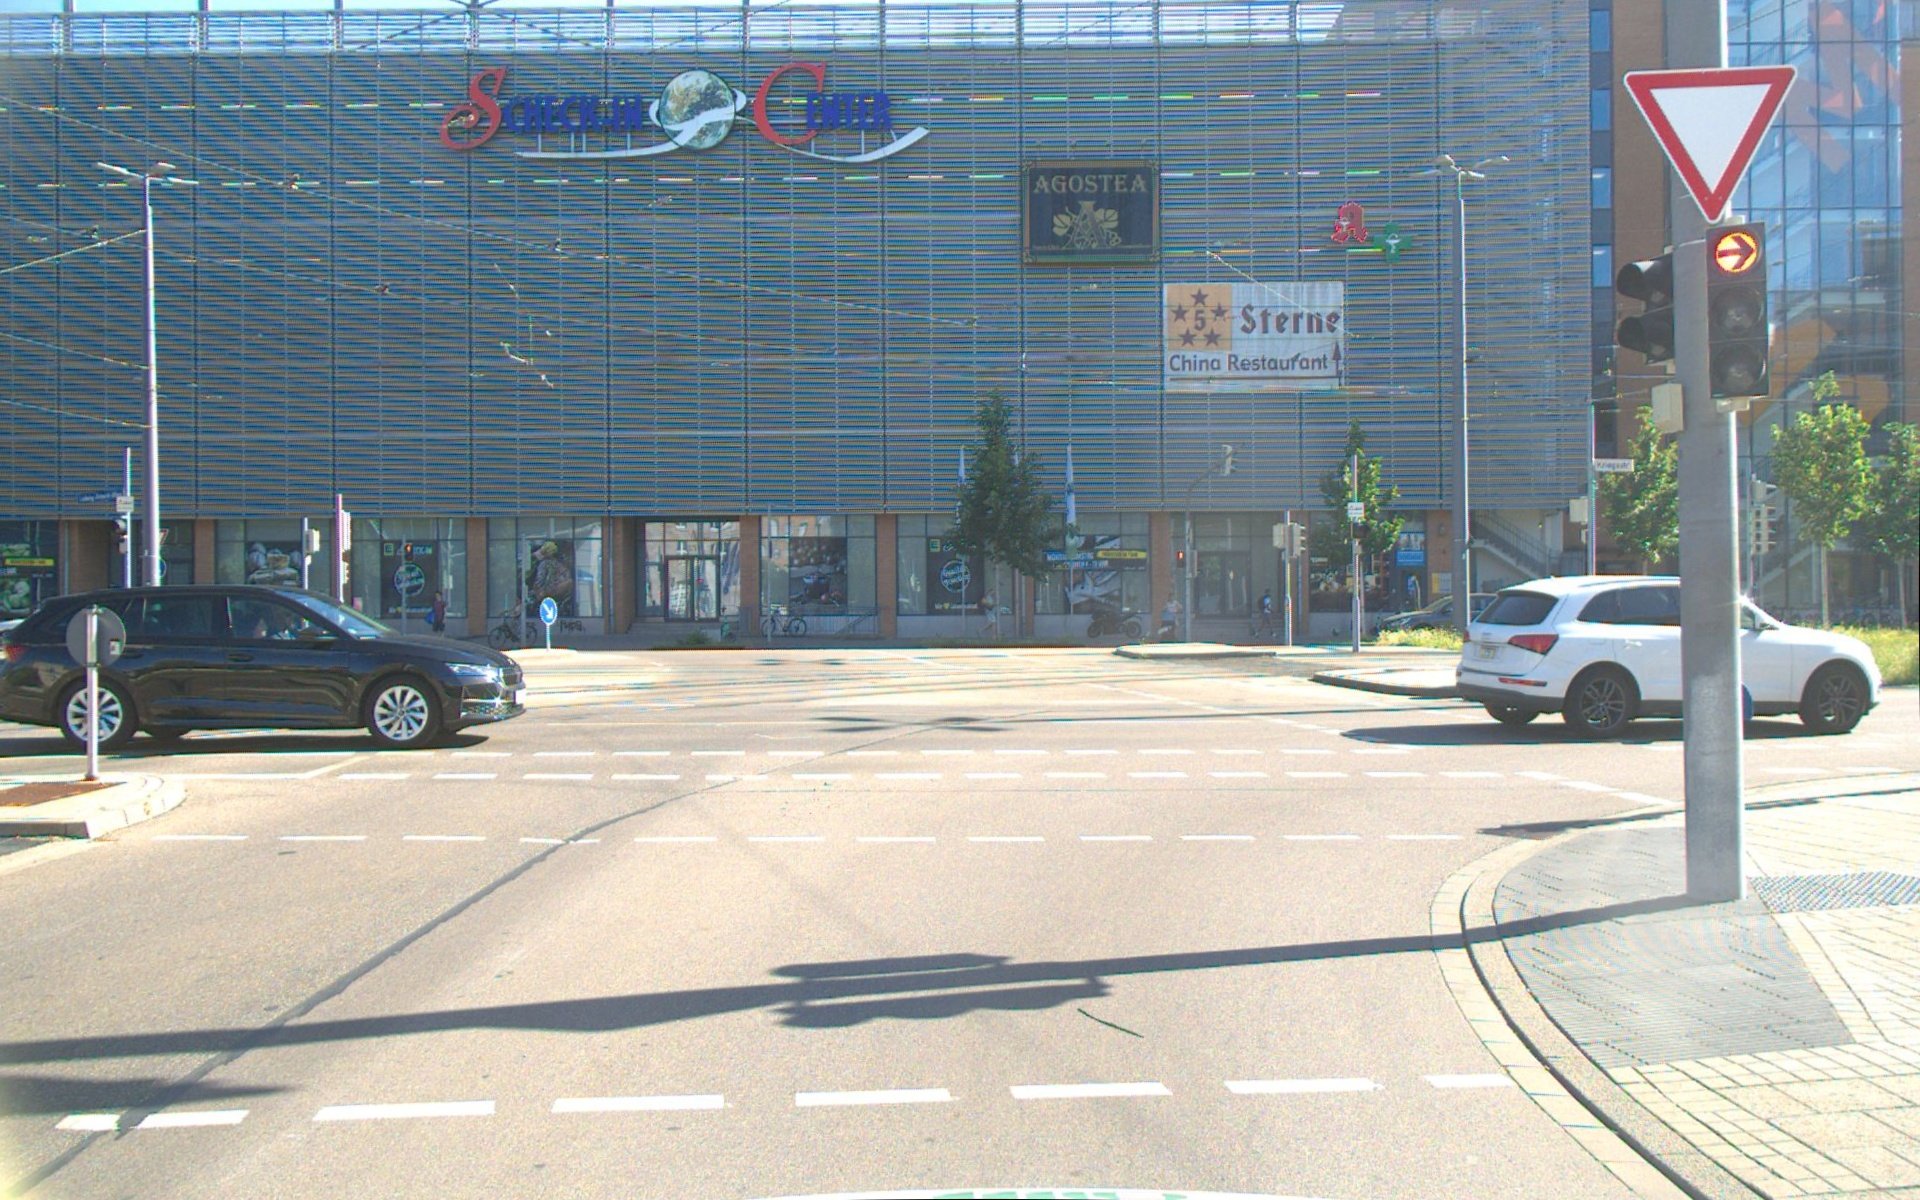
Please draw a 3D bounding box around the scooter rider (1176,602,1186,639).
[{"bbox_3d":[7.361,0.673,55.132,0.282,1.221,0.386,1,-1,10],"label":"scooter rider"}]

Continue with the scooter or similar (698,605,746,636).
[{"bbox_3d":[-8.745,0.756,60.782,1.759,1.085,0.611,0,1,-9],"label":"scooter or similar"}]

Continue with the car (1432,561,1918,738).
[{"bbox_3d":[7.695,0.480,17.962,4.586,1.737,1.932,-1,0,-12],"label":"car"}]

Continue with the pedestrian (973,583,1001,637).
[{"bbox_3d":[0.978,0.363,59.760,0.930,1.860,0.846,-2,-4,5],"label":"pedestrian"}]

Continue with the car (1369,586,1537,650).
[{"bbox_3d":[13.670,0.501,46.048,4.063,1.495,1.840,3,-1,-2],"label":"car"}]

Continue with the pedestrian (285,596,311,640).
[{"bbox_3d":[-24.655,0.661,61.600,0.646,1.629,0.594,1,-1,18],"label":"pedestrian"}]

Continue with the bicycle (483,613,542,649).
[{"bbox_3d":[-14.766,1.015,54.622,0.559,1.105,1.852,0,2,42],"label":"bicycle"}]

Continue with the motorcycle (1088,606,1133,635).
[{"bbox_3d":[5.530,0.735,60.709,1.605,1.022,0.447,1,0,6],"label":"motorcycle"}]

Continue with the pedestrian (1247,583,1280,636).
[{"bbox_3d":[10.915,0.337,59.430,0.991,1.860,1.036,-2,0,3],"label":"pedestrian"}]

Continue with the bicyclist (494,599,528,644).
[{"bbox_3d":[-14.798,0.698,54.547,0.663,1.452,0.844,0,2,42],"label":"bicyclist"}]

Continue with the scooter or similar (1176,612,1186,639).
[{"bbox_3d":[7.367,0.840,55.192,0.288,0.888,1.004,1,0,10],"label":"scooter or similar"}]

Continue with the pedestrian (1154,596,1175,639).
[{"bbox_3d":[6.858,0.584,55.365,0.641,1.438,0.850,1,-1,10],"label":"pedestrian"}]

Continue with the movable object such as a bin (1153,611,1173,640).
[{"bbox_3d":[6.742,0.838,54.899,0.599,0.920,0.970,1,0,10],"label":"movable object such as a bin"}]

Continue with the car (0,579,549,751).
[{"bbox_3d":[-6.346,0.558,15.432,4.574,1.487,1.833,0,0,-2],"label":"car"}]

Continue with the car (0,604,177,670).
[{"bbox_3d":[-25.863,1.099,49.123,4.203,1.673,1.840,3,-1,-2],"label":"car"}]

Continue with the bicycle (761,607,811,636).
[{"bbox_3d":[-6.364,0.787,60.435,1.783,1.006,0.556,0,1,-11],"label":"bicycle"}]

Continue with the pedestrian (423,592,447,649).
[{"bbox_3d":[-17.338,0.671,54.671,0.683,1.829,0.727,-2,0,-17],"label":"pedestrian"}]
